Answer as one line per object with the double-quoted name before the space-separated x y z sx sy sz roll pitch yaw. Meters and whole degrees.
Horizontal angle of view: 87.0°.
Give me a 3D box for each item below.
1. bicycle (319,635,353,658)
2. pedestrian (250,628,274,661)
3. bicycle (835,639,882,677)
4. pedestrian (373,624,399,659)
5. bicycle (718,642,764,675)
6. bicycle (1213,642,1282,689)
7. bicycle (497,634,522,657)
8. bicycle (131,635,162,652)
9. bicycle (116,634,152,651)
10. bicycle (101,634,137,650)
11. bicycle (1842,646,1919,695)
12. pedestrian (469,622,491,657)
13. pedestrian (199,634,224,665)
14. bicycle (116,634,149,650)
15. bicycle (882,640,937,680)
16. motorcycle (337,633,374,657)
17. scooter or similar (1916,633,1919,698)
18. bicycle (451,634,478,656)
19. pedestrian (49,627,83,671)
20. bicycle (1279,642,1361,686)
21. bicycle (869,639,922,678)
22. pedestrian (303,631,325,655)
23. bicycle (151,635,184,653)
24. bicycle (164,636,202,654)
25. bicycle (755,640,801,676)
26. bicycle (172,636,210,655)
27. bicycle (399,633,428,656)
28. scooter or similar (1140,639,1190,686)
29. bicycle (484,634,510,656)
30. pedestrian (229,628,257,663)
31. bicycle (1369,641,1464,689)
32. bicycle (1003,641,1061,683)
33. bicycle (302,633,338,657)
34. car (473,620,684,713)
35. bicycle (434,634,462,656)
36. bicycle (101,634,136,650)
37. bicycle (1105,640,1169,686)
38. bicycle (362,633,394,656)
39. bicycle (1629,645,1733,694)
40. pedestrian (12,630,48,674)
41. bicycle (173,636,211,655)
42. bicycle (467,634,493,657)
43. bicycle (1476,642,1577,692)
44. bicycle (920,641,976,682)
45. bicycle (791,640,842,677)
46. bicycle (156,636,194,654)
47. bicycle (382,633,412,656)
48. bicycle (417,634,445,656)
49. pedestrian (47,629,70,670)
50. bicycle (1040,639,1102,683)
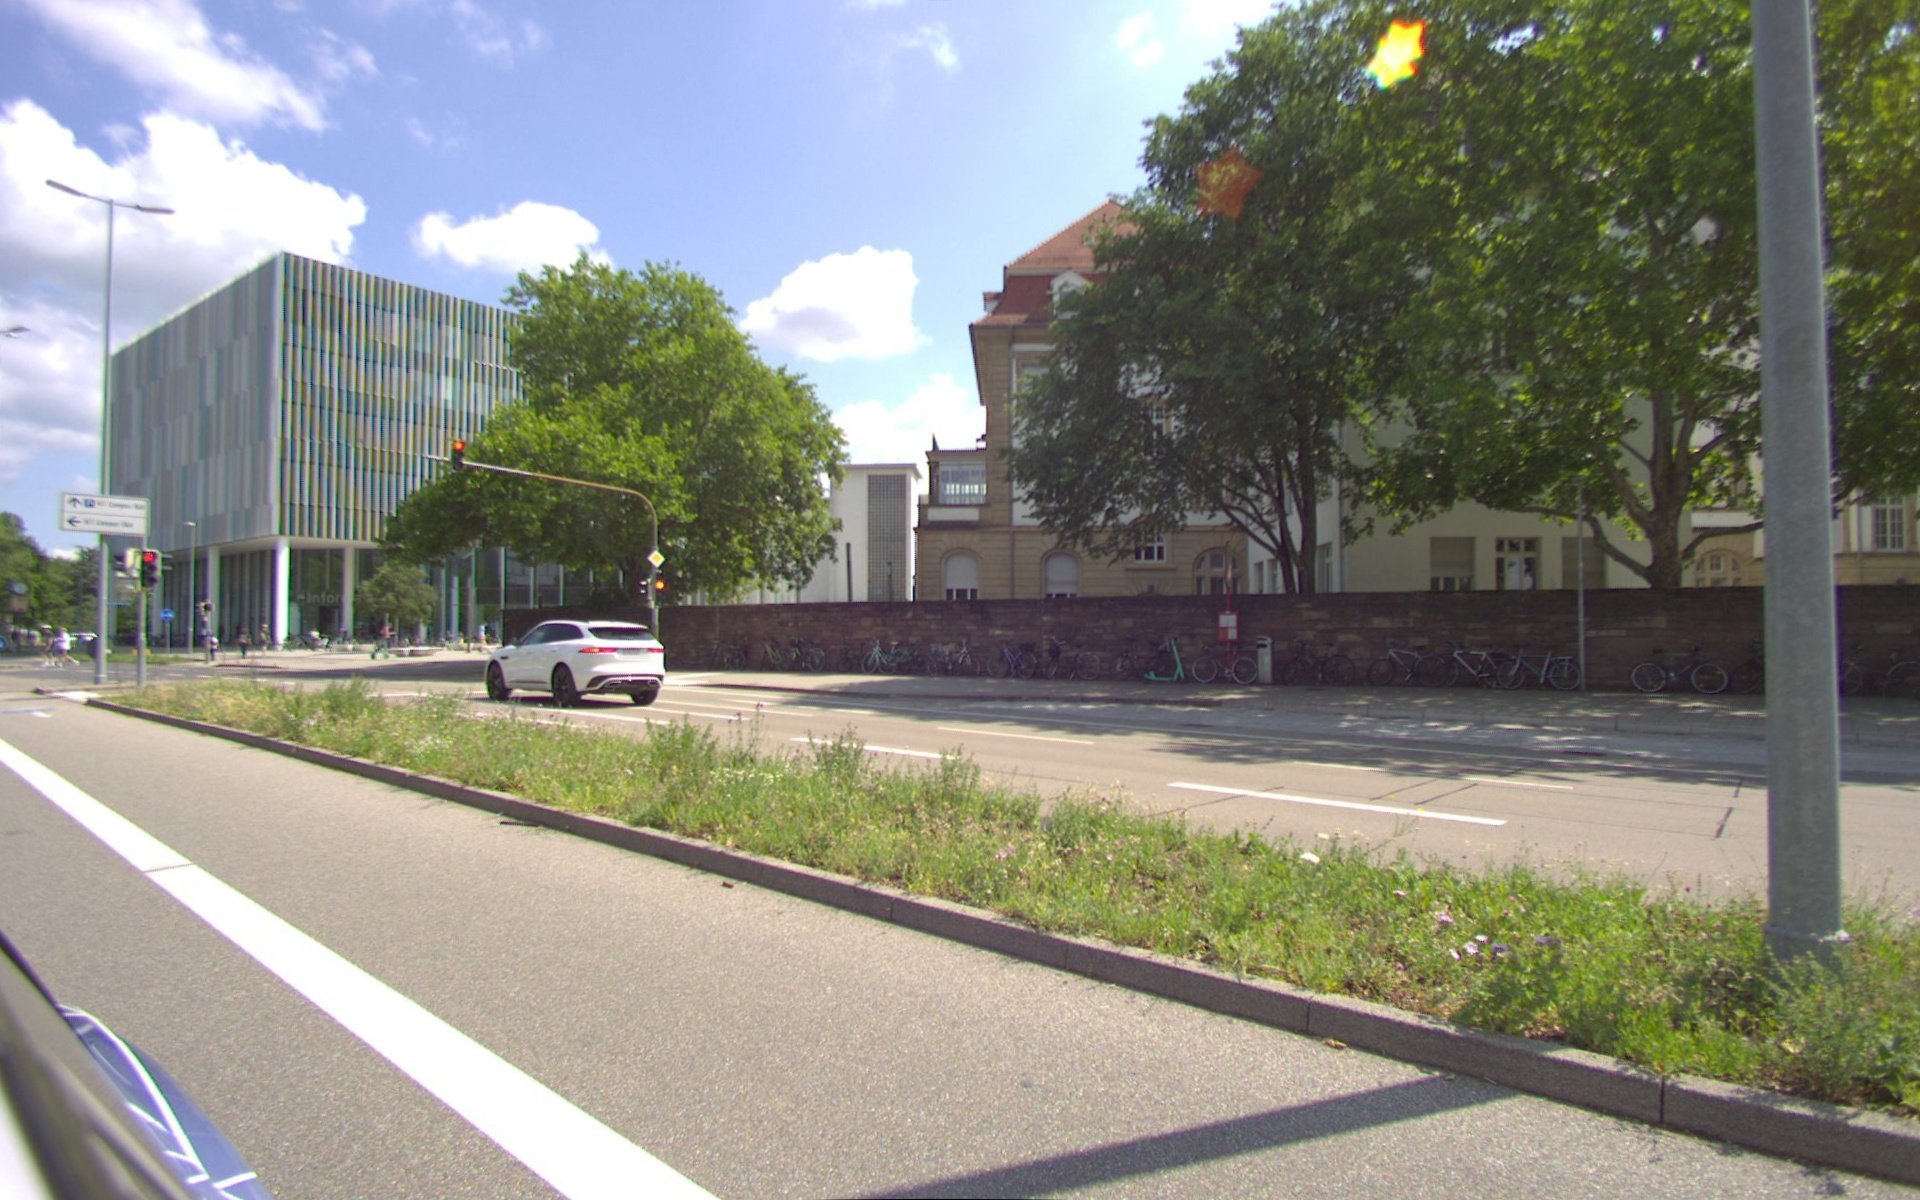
"bicycle" -44.083 3.265 71.498 0.919 1.505 2.691 0 -1 -5
"pedestrian" -40.601 2.576 58.881 0.955 1.940 0.882 0 -2 -23
"bicycle" -3.186 1.791 31.619 1.590 1.161 0.409 -2 -2 35
"pedestrian" -32.660 2.362 57.598 1.093 1.940 0.973 1 -2 -44
"bicycle" -7.442 1.974 34.403 1.589 1.107 0.567 -2 -2 32
"bicycle" 7.149 1.618 25.204 1.587 1.151 0.429 -1 -2 29
"bicycle" -31.581 3.141 71.025 0.983 1.564 3.423 0 -2 -13
"bicycle" -73.528 3.881 91.476 0.621 1.506 2.044 -2 -2 40
"bicycle" -75.746 3.901 92.813 0.621 1.506 2.479 -2 -2 40
"bicycle" -79.554 3.952 95.746 0.621 1.506 2.479 -2 -2 40
"bicycle" 18.057 1.341 19.369 1.658 0.909 0.540 -1 -2 29
"pedestrian" -27.408 2.253 57.747 1.090 1.940 0.975 0 -2 -27
"pedestrian" -40.428 2.677 54.658 0.879 1.641 0.958 -2 -2 42
"bicycle" -77.217 3.932 94.456 0.621 1.506 2.300 -2 -2 40
"bicycle" -1.486 1.784 29.945 1.575 1.161 0.401 -1 -2 8
"motorcycle" -42.749 3.167 71.623 0.957 1.652 3.302 0 -2 -6
"scooter or similar" 18.346 1.204 18.475 1.184 1.192 0.430 -1 -2 20
"bicycle" -35.132 3.182 71.808 0.983 1.564 3.423 0 -2 -13
"pedestrian" -40.311 2.178 45.645 1.092 1.940 0.974 1 -2 -40
"bicycle" 8.636 1.527 24.336 1.795 1.016 0.476 -1 -2 32
"bicycle" -1.948 1.761 30.568 1.581 1.161 0.400 -1 -2 18
"pedestrian" -47.186 3.101 73.927 0.997 1.720 1.214 0 -2 -16
"bicycle" -68.548 3.814 87.562 0.621 1.506 2.172 -2 -2 40
"bicycle" -66.499 3.801 86.595 0.621 1.506 2.479 -2 -2 40
"bicycle" -6.022 1.915 33.483 1.589 1.161 0.495 -2 -2 32
"bicycle" -63.277 3.740 83.300 0.621 1.506 2.420 -2 -2 40
"bicycle" -38.792 3.164 71.890 0.983 1.564 3.423 0 -2 -13
"scooter or similar" 5.177 1.578 25.520 1.184 1.161 0.430 -1 -2 20
"bicycle" -32.922 3.175 72.005 0.983 1.564 3.423 0 -2 -13
"pedestrian" -40.025 2.552 56.512 0.957 1.940 0.880 0 -2 -5
"bicycle" 10.485 1.482 23.250 1.941 1.055 0.540 -1 -2 29
"bicycle" 2.008 1.720 28.314 1.587 1.161 0.398 -1 -2 29
"bicycle" -45.124 3.174 71.391 0.797 1.656 3.421 0 -2 -9
"car" -7.845 1.277 20.603 4.773 1.680 2.049 -2 -3 42
"bicycle" -36.241 3.174 71.669 0.983 1.564 3.423 0 -2 -13
"bicycle" -80.020 3.961 96.281 0.621 1.506 2.479 -2 -2 40
"bicycle" 4.618 1.629 26.430 1.581 1.161 0.530 -1 -2 19
"bicycle" -41.310 3.150 71.854 1.034 1.564 3.423 0 -2 -13
"bicycle" 14.738 1.406 20.735 1.658 0.956 0.540 -1 -2 29
"pedestrian" -41.958 2.319 45.670 1.092 1.940 0.973 1 -2 -40
"bicycle" -63.864 3.756 84.167 2.473 1.506 0.731 1 -2 -40
"bicycle" -34.022 3.187 71.773 0.983 1.564 3.423 0 -2 -13
"bicycle" 12.343 1.440 22.117 1.887 1.055 0.540 -1 -2 29
"bicycle" -0.347 1.775 29.344 1.575 1.161 0.401 -1 -2 8
"bicycle" -4.607 1.869 32.451 1.589 1.161 0.616 -2 -2 32
"bicycle" -66.280 3.775 85.450 0.621 1.506 2.479 -2 -2 40
"bicycle" -39.953 3.158 71.867 0.983 1.564 3.423 0 -2 -13
"bicycle" -37.569 3.174 71.921 0.983 1.564 3.423 0 -2 -13
"pedestrian" -41.161 2.240 46.212 0.688 1.840 0.638 -2 -3 40
"bicycle" 2.989 1.639 27.188 1.581 1.161 0.530 -1 -2 19
